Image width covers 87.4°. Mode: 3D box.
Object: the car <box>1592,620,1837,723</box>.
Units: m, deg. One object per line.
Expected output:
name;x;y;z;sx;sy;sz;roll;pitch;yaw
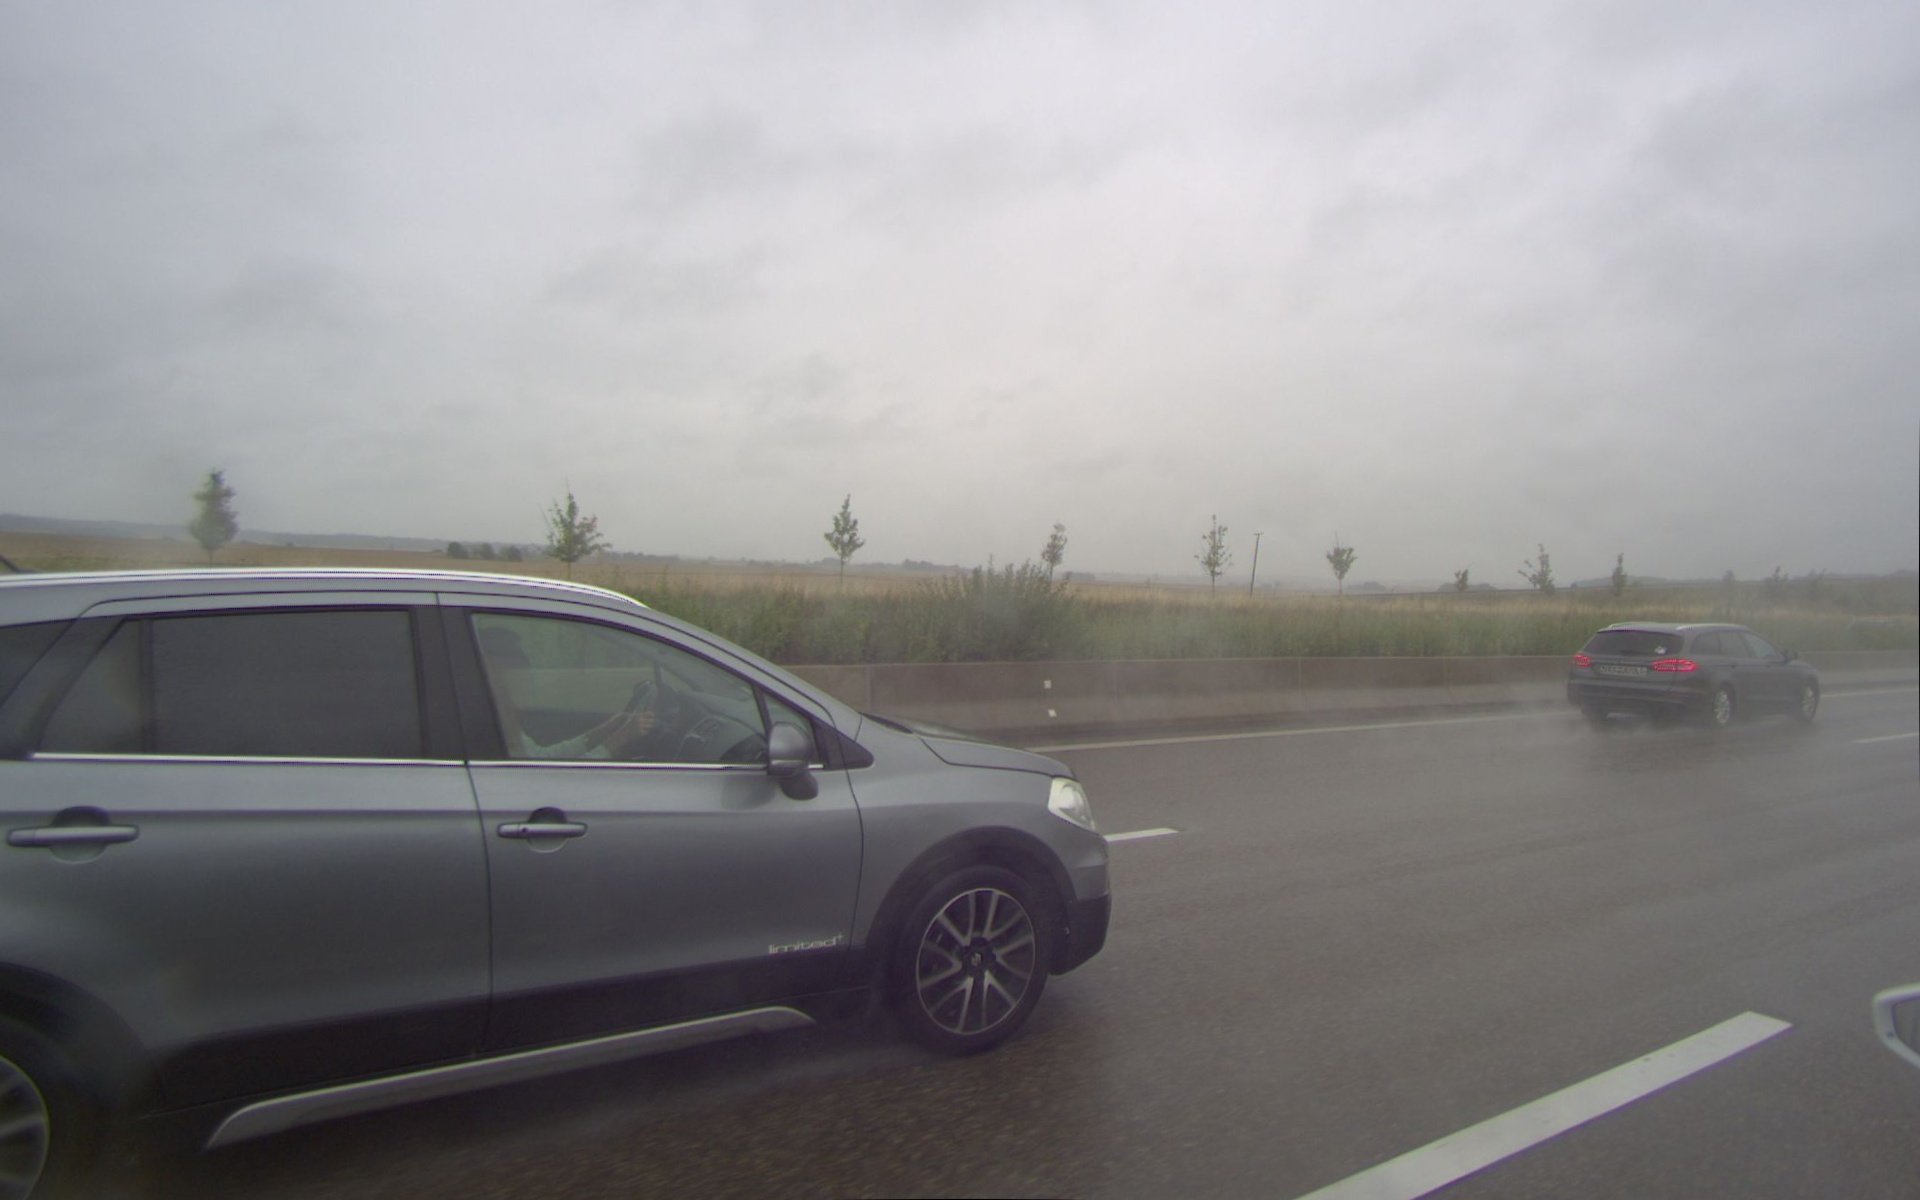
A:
car;11.691;1.041;15.515;3.952;1.372;1.605;1;0;-30

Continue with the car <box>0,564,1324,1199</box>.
car;-1.067;0.714;3.531;4.701;1.533;1.837;1;0;-30
